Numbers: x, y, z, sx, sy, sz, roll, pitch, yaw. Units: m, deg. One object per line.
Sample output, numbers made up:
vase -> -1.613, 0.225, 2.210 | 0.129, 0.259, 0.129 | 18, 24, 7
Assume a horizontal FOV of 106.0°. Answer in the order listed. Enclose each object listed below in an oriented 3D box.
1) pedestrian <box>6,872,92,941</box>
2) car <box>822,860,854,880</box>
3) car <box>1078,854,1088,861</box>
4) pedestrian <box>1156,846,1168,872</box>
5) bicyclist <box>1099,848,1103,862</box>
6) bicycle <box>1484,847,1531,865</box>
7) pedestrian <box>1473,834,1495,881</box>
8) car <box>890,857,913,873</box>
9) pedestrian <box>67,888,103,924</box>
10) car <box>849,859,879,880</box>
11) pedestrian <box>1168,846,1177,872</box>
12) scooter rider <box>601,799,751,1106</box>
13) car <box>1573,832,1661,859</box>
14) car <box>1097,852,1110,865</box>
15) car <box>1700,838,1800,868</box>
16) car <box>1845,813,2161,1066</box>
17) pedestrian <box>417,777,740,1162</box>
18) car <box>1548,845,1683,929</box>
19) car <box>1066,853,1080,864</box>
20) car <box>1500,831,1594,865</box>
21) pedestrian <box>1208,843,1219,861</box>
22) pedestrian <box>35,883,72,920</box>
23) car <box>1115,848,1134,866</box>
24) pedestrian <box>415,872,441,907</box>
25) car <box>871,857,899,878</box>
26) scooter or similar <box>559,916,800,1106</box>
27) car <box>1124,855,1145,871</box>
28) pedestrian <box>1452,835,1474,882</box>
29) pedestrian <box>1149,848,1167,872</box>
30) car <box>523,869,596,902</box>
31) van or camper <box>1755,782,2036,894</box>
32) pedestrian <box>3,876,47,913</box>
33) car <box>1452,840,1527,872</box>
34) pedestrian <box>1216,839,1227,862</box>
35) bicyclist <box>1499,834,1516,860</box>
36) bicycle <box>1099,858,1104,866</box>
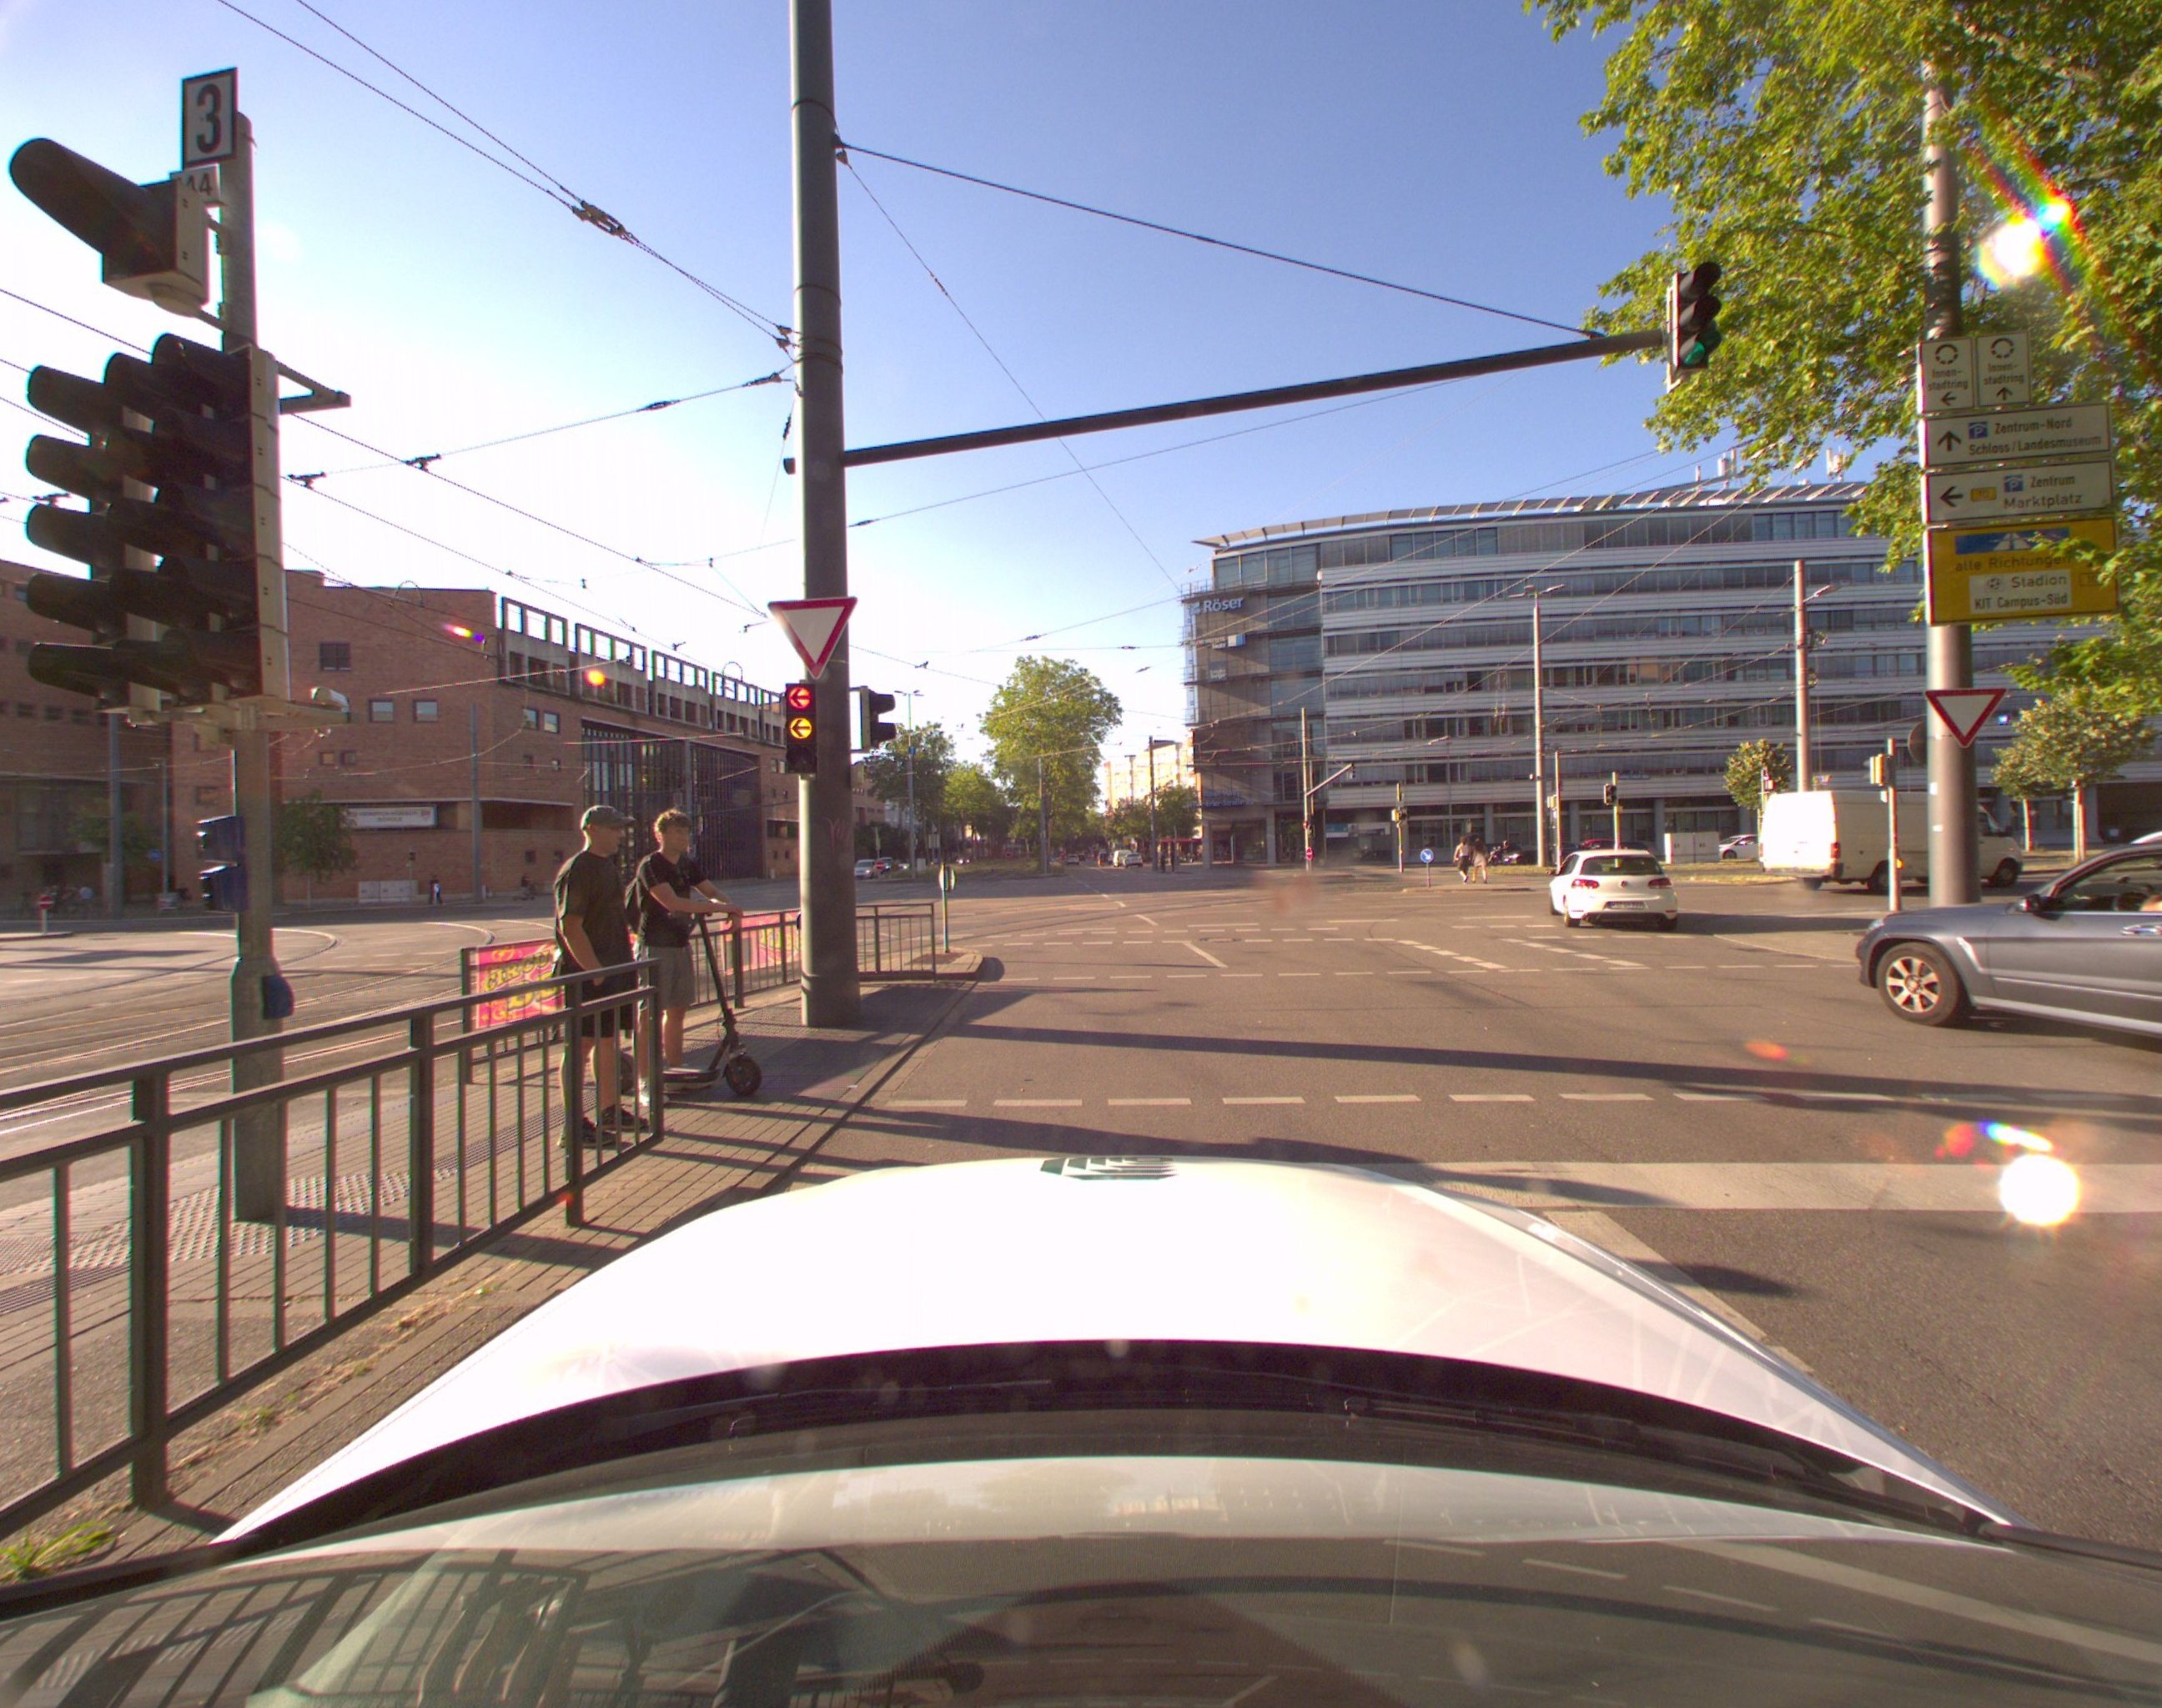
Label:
pedestrian -> -31.131, 1.550, 24.586 | 1.029, 2.014, 1.208 | 0, -1, 1
car -> -27.027, 1.782, 90.576 | 1.867, 2.013, 4.477 | -2, 0, 4
car -> 0.384, 0.744, 160.882 | 1.759, 1.404, 4.293 | -1, 0, -2
pedestrian -> 6.405, 0.412, 64.356 | 0.846, 2.014, 0.708 | 0, -1, 0
bicyclist -> 2.107, 0.085, 85.871 | 0.485, 1.439, 0.616 | 0, 0, 1
bicycle -> 25.677, 0.129, 49.024 | 2.397, 1.022, 0.638 | -2, 0, 6
pedestrian -> 15.213, 0.135, 30.743 | 0.677, 1.759, 0.746 | -2, 0, 27
car -> -18.341, 1.149, 83.352 | 1.673, 1.607, 3.994 | 0, -1, -4
pedestrian -> -59.663, 3.102, 48.791 | 1.003, 2.052, 0.850 | -2, 0, -1
car -> -18.081, 1.259, 67.892 | 1.618, 1.577, 3.994 | -2, 0, -4
pedestrian -> 7.007, 0.383, 62.439 | 0.584, 2.014, 0.620 | 0, -1, 2
scooter rider -> -2.615, 0.608, 5.310 | 0.563, 1.853, 0.681 | -2, -2, 6
car -> 31.842, -0.507, 48.465 | 3.966, 1.552, 1.800 | 0, -1, 6
car -> 3.465, 0.749, 126.849 | 1.986, 2.014, 4.001 | 0, -1, 2
car -> 37.247, -0.060, 45.429 | 3.968, 1.596, 1.884 | 0, -1, 5
car -> 7.863, 0.541, 5.371 | 1.758, 1.636, 4.252 | -1, 0, 2
pedestrian -> -2.687, 0.587, 4.473 | 1.161, 1.884, 0.856 | -2, 0, 6
car -> 10.371, 0.564, 16.066 | 1.620, 1.428, 4.009 | -1, 0, 25
car -> -1.111, 0.670, 115.631 | 1.740, 1.418, 4.004 | -1, 1, 4
car -> 26.490, -0.326, 46.391 | 4.234, 1.723, 1.886 | -2, 0, 4
pedestrian -> 16.513, -0.262, 101.206 | 1.305, 2.190, 1.173 | -1, -1, 8
pedestrian -> -59.508, 2.717, 47.163 | 1.003, 2.052, 0.850 | -2, 0, -1
car -> 4.716, 0.340, 89.630 | 1.986, 2.014, 4.001 | 0, -1, 2
pedestrian -> -36.120, 1.929, 45.082 | 0.721, 1.902, 0.875 | 0, -1, -1
car -> -18.192, 1.221, 75.613 | 1.819, 1.790, 3.994 | -2, 0, -4
scooter or similar -> -2.565, 0.989, 5.280 | 1.196, 1.081, 0.649 | -2, 0, 5
car -> 5.398, 0.912, 82.641 | 2.022, 1.596, 4.001 | 0, -1, 2
pedestrian -> 14.467, 0.161, 30.846 | 0.671, 1.759, 0.746 | -2, 0, 26
pedestrian -> 6.240, 0.488, 66.129 | 1.337, 1.950, 1.011 | -2, -1, 1
car -> -36.624, 2.175, 57.307 | 1.983, 2.013, 4.201 | -2, 0, 7
van or camper -> 21.345, -0.434, 21.393 | 6.482, 2.614, 1.998 | -2, 0, -12
pedestrian -> -59.677, 2.300, 46.031 | 1.155, 2.013, 0.910 | -2, 0, -2
car -> 27.052, 0.128, 54.007 | 3.972, 2.014, 2.001 | 0, -1, 2
pedestrian -> 12.778, -0.291, 73.861 | 0.866, 2.014, 0.794 | 0, -2, 1
bicyclist -> 25.662, -0.415, 49.029 | 0.660, 1.503, 0.614 | -2, 0, 7
bicycle -> 2.125, 0.834, 85.957 | 0.489, 0.788, 1.862 | -1, 0, 2
